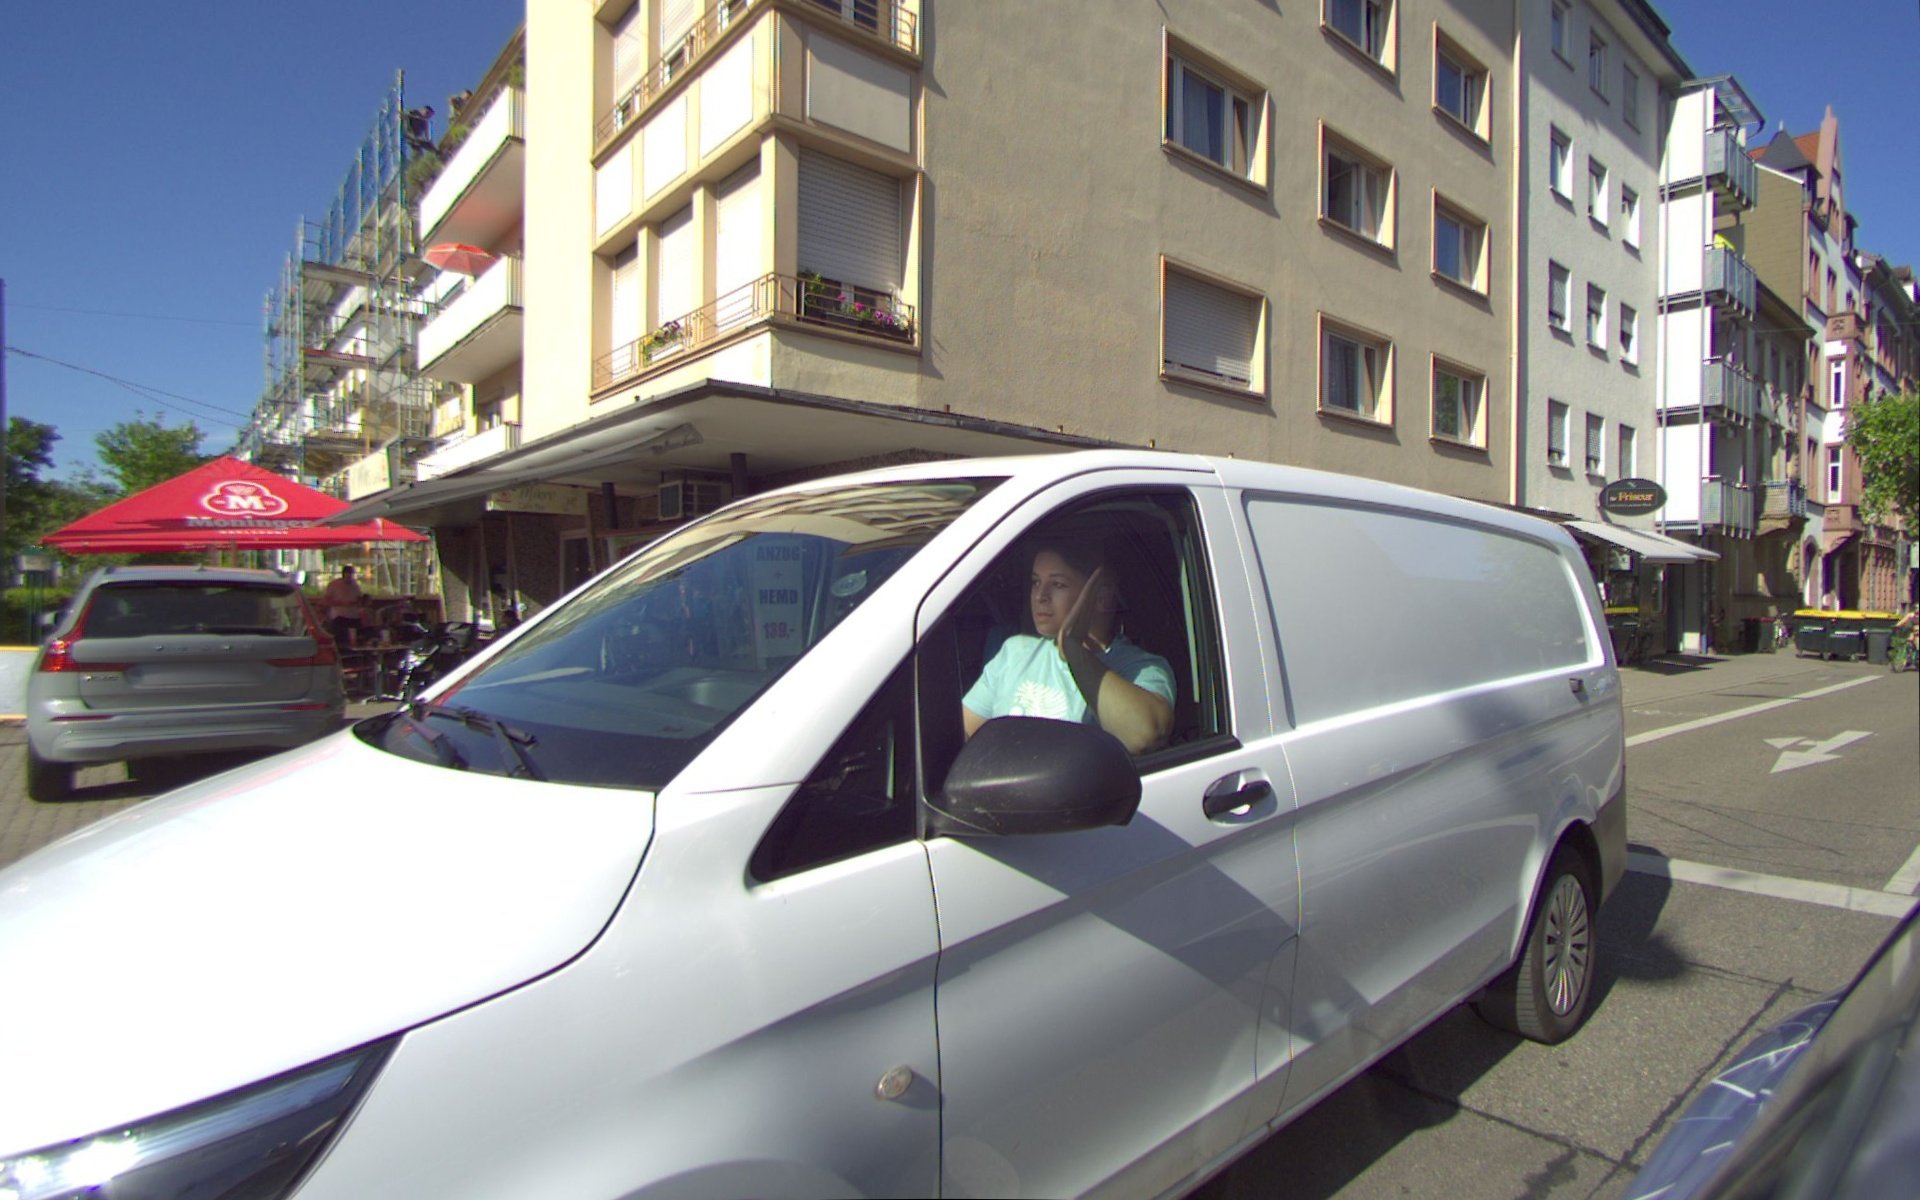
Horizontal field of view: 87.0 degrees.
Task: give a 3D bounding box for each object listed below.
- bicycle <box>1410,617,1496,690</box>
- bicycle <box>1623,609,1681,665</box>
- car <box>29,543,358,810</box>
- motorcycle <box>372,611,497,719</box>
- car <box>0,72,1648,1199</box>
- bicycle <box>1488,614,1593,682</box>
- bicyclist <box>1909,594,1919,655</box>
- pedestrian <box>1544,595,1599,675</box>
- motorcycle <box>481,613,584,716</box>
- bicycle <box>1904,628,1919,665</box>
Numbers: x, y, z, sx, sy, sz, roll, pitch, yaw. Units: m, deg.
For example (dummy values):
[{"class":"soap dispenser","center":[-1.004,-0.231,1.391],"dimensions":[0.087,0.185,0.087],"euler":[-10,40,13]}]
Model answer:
[{"class":"bicycle","center":[7.956,0.834,16.301],"dimensions":[1.766,1.098,0.408],"euler":[0,3,-35]},{"class":"bicycle","center":[15.627,0.815,22.841],"dimensions":[1.742,1.157,0.598],"euler":[0,3,-40]},{"class":"car","center":[-6.440,0.457,8.513],"dimensions":[1.793,1.683,3.996],"euler":[0,1,-39]},{"class":"motorcycle","center":[-6.369,0.742,12.383],"dimensions":[0.556,1.181,2.015],"euler":[0,0,-3]},{"class":"car","center":[0.193,0.464,3.005],"dimensions":[4.749,1.833,1.971],"euler":[0,1,-42]},{"class":"bicycle","center":[10.242,0.823,17.899],"dimensions":[1.475,1.120,0.719],"euler":[1,0,19]},{"class":"bicyclist","center":[22.527,0.566,23.513],"dimensions":[0.652,1.394,0.583],"euler":[0,0,-35]},{"class":"pedestrian","center":[11.626,0.645,19.244],"dimensions":[0.615,1.460,0.774],"euler":[0,0,-45]},{"class":"motorcycle","center":[-5.474,0.779,13.075],"dimensions":[0.556,1.181,2.015],"euler":[0,0,-3]},{"class":"bicycle","center":[22.567,1.083,23.545],"dimensions":[1.677,0.816,0.583],"euler":[0,0,-36]}]
